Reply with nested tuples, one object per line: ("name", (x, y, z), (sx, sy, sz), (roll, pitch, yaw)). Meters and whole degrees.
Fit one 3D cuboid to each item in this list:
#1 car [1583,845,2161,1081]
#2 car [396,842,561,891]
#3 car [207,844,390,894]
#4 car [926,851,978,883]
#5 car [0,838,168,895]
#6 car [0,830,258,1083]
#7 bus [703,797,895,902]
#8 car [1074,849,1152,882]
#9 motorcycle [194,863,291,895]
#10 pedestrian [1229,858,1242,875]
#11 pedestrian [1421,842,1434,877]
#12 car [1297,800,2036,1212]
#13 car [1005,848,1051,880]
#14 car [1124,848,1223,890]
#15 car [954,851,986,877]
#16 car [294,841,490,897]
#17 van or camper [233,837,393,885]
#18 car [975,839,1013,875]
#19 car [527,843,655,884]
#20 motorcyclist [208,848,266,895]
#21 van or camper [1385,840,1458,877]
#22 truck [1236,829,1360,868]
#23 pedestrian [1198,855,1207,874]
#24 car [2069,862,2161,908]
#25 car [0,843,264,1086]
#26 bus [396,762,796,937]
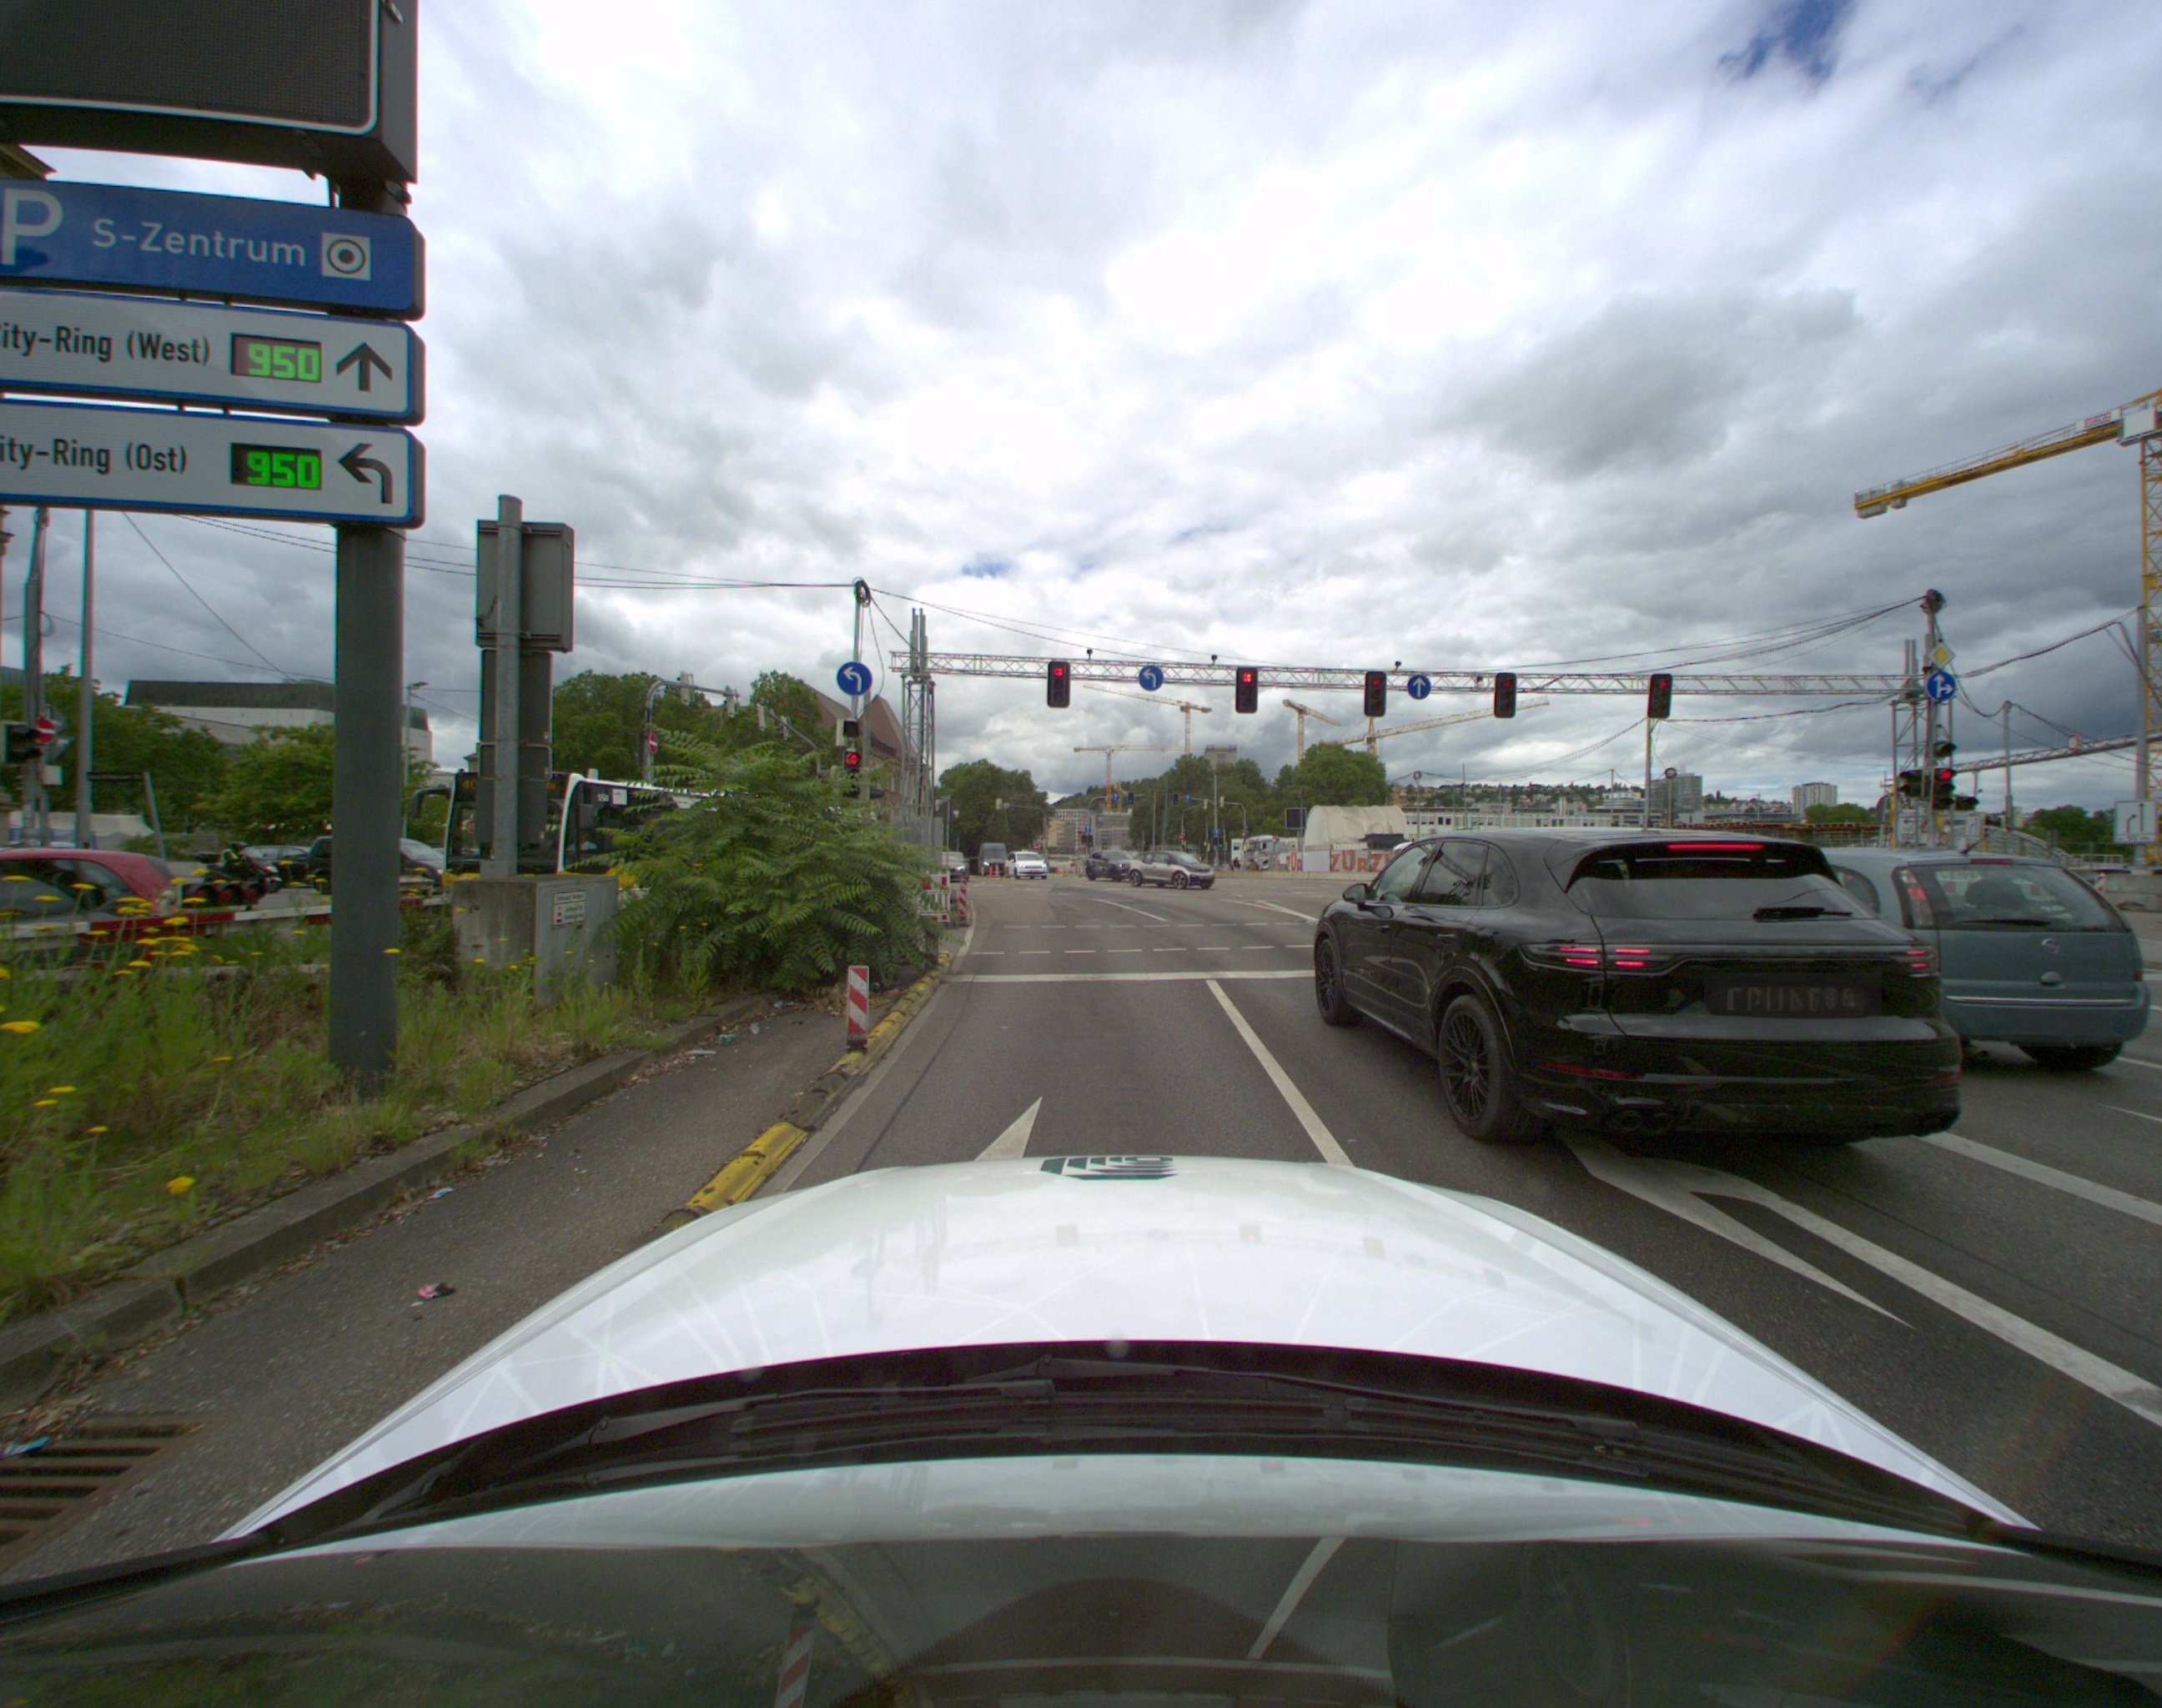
("car", (6.472, 0.709, 7.299), (1.657, 1.543, 3.883), (0, 0, 2))
("car", (-21.421, 0.427, 29.109), (4.304, 1.676, 1.997), (0, 0, -4))
("car", (-27.288, 0.508, 28.538), (4.304, 1.676, 1.997), (0, 0, -4))
("car", (-6.313, 0.579, 40.226), (1.872, 1.472, 4.444), (0, 0, 0))
("car", (-31.458, 0.377, 25.031), (4.304, 1.676, 1.997), (0, 0, -4))
("car", (-7.622, 0.664, 4.812), (1.660, 1.591, 3.877), (-1, 0, -3))
("bus", (-9.471, -0.159, 28.865), (2.832, 3.114, 9.136), (0, 0, 5))
("car", (1.658, 0.566, 43.861), (1.892, 1.670, 4.561), (0, 0, -34))
("motorcycle", (-25.784, 0.764, 25.062), (2.052, 0.924, 0.756), (0, 0, -5))
("pedestrian", (12.982, 1.055, 68.356), (0.796, 1.378, 0.902), (0, 0, -9))
("pedestrian", (19.841, 0.327, 46.639), (0.645, 2.013, 0.520), (0, 0, 25))
("car", (3.029, 0.615, 5.682), (1.948, 1.686, 4.636), (0, 0, 2))
("car", (-3.169, 0.553, 47.719), (1.881, 1.736, 4.423), (0, 0, -14))
("car", (3.873, 0.582, 34.622), (1.810, 1.668, 4.017), (0, 0, -42))
("car", (-7.493, 0.648, 54.553), (1.879, 1.670, 4.427), (0, 0, -11))
("car", (-21.527, 0.445, 25.598), (4.304, 1.676, 1.997), (0, 0, -4))
("van or camper", (-31.368, 0.261, 33.432), (4.323, 1.879, 1.988), (0, 0, -18))
("car", (-6.724, 0.184, 62.190), (2.060, 2.594, 5.984), (0, 0, -14))
("car", (-21.081, 0.394, 35.219), (4.316, 1.676, 1.991), (0, 0, -13))
("motorcyclist", (-25.928, 0.528, 25.044), (0.963, 1.423, 0.745), (0, 0, -5))
("van or camper", (22.269, 0.277, 53.420), (4.182, 2.357, 2.008), (0, 0, 15))
("truck", (23.453, -0.567, 87.865), (13.067, 4.041, 3.925), (0, 0, -20))
("pedestrian", (10.958, 0.958, 73.266), (0.727, 1.689, 0.678), (0, 0, 0))
("car", (35.776, 1.005, 26.748), (3.964, 1.420, 2.005), (0, 0, 8))
("car", (-7.683, 0.716, 5.488), (1.531, 1.551, 2.821), (-1, 0, -2))
("bus", (-10.405, -0.102, 19.423), (2.831, 3.114, 9.766), (0, 0, 6))
